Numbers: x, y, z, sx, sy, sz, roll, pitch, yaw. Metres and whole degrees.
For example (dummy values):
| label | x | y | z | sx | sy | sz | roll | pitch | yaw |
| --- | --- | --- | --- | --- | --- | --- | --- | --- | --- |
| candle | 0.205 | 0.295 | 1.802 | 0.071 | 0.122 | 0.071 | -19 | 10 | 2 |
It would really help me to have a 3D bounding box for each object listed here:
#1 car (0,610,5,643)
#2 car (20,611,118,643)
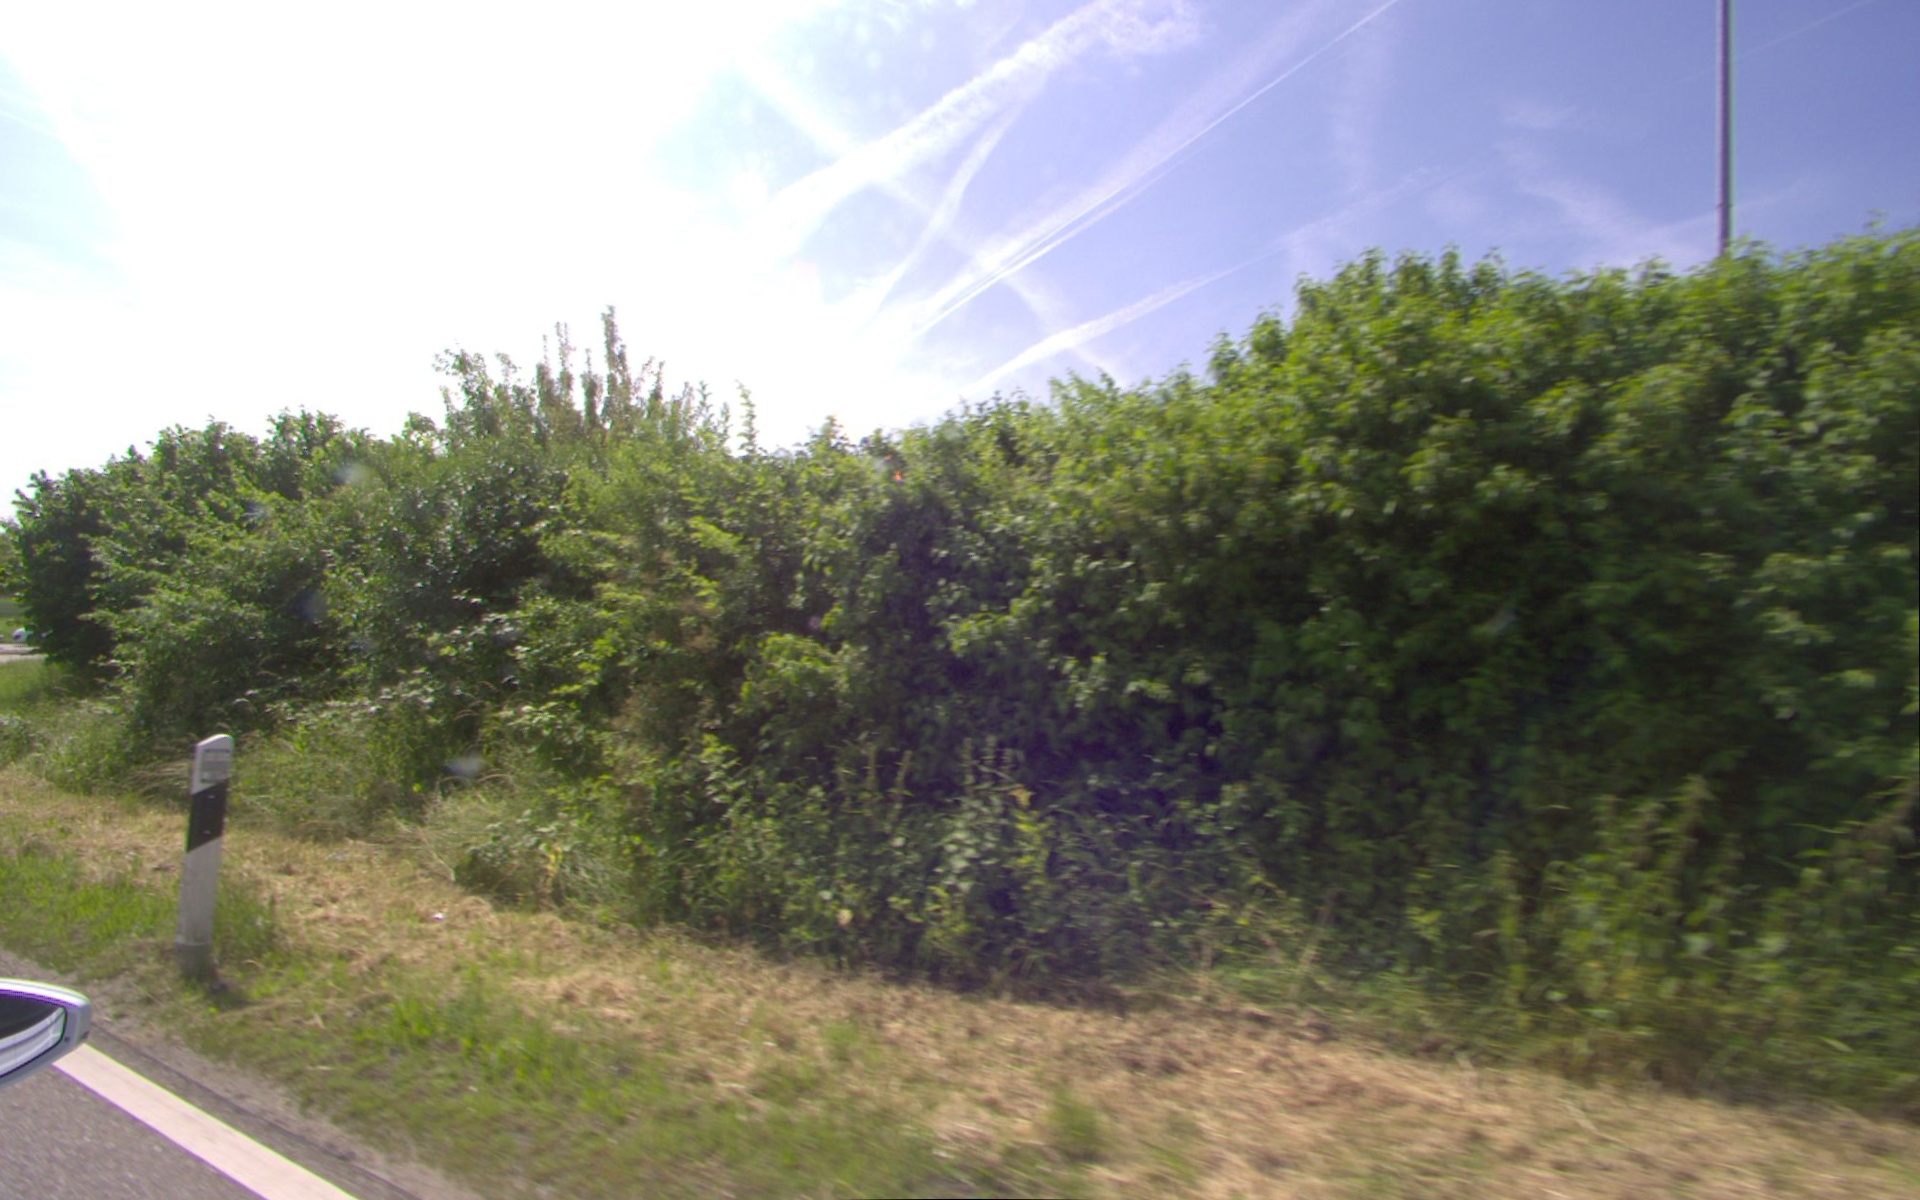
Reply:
| label | x | y | z | sx | sy | sz | roll | pitch | yaw |
| --- | --- | --- | --- | --- | --- | --- | --- | --- | --- |
| car | -47.851 | 1.236 | 47.199 | 4.074 | 1.567 | 1.856 | 2 | -3 | -44 |
| car | -47.068 | 1.446 | 52.928 | 3.803 | 1.654 | 1.744 | 2 | -2 | -44 |
